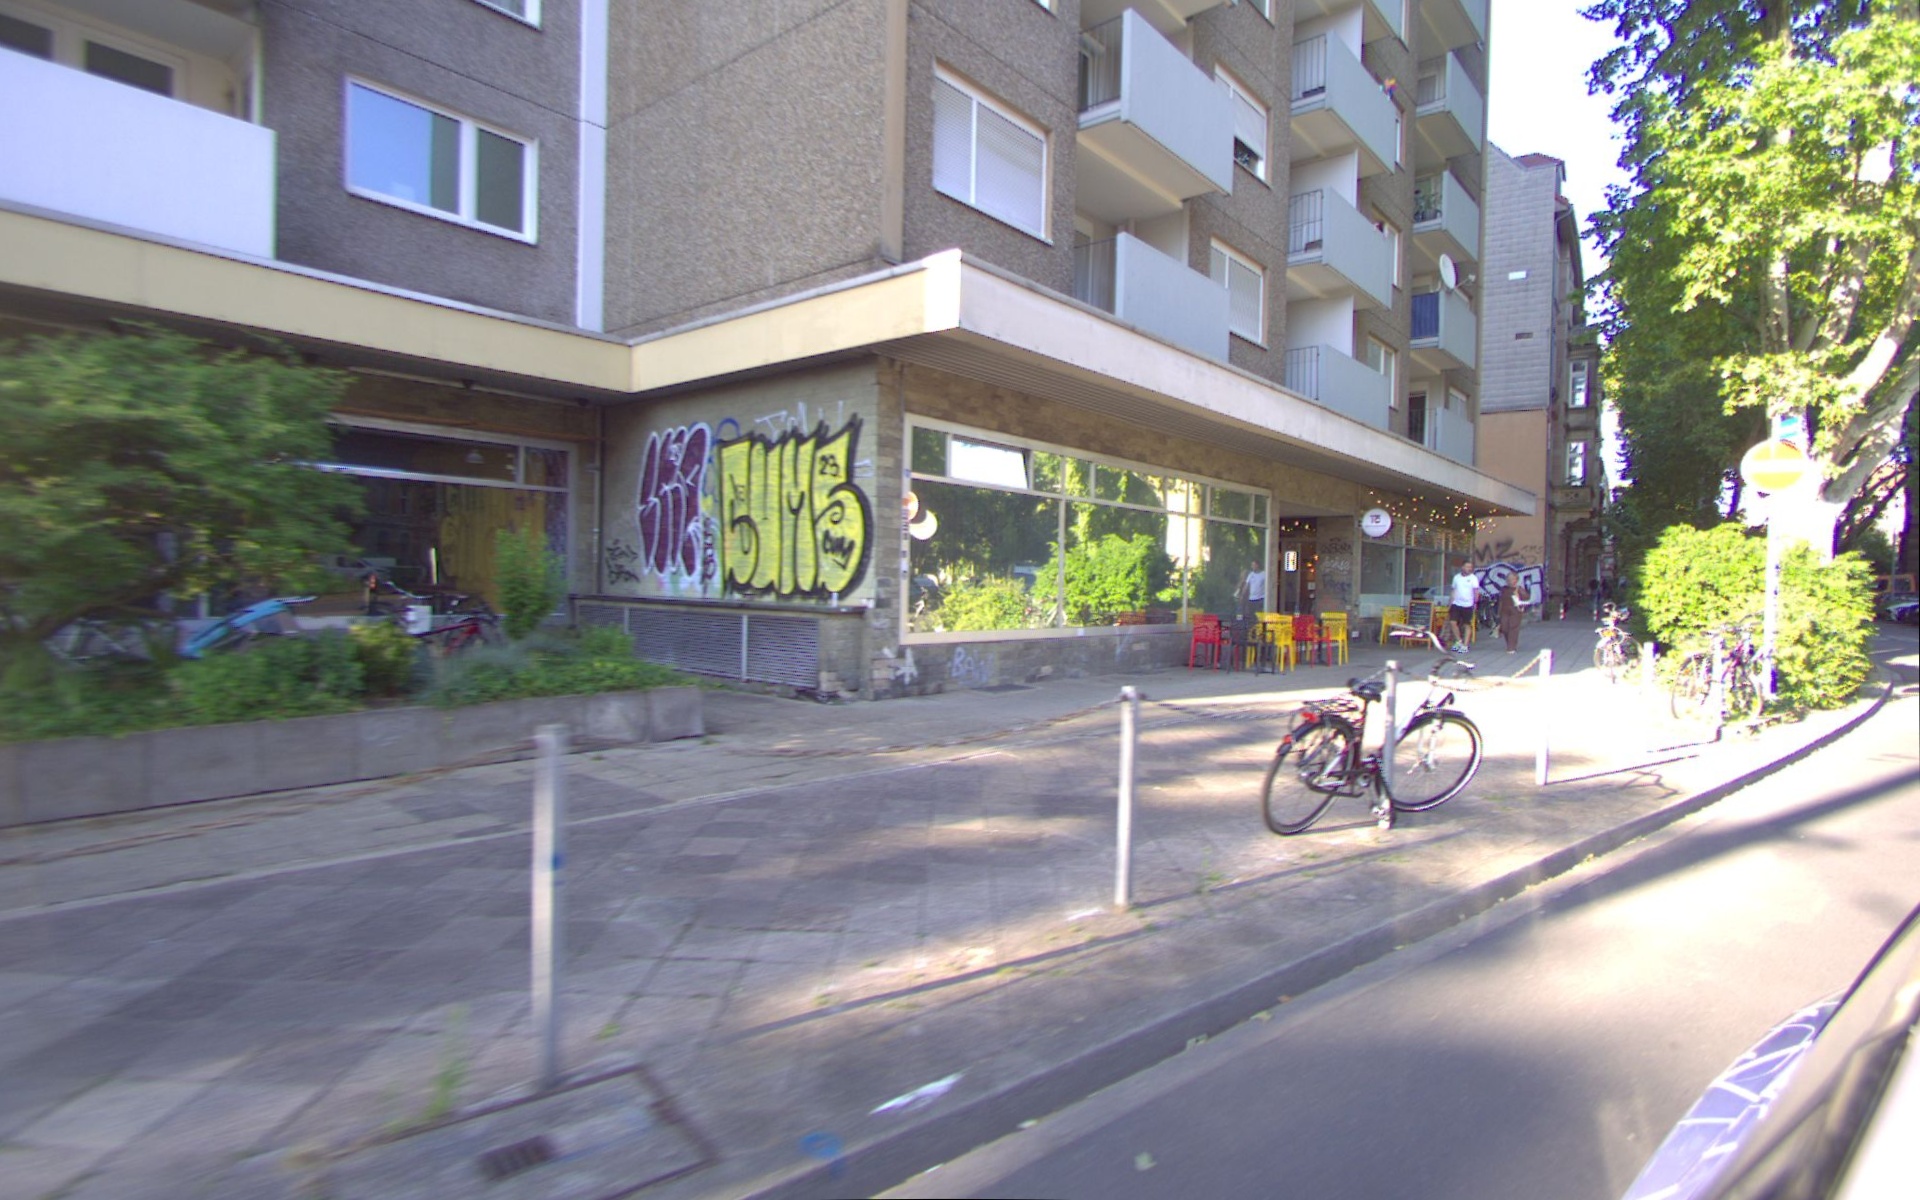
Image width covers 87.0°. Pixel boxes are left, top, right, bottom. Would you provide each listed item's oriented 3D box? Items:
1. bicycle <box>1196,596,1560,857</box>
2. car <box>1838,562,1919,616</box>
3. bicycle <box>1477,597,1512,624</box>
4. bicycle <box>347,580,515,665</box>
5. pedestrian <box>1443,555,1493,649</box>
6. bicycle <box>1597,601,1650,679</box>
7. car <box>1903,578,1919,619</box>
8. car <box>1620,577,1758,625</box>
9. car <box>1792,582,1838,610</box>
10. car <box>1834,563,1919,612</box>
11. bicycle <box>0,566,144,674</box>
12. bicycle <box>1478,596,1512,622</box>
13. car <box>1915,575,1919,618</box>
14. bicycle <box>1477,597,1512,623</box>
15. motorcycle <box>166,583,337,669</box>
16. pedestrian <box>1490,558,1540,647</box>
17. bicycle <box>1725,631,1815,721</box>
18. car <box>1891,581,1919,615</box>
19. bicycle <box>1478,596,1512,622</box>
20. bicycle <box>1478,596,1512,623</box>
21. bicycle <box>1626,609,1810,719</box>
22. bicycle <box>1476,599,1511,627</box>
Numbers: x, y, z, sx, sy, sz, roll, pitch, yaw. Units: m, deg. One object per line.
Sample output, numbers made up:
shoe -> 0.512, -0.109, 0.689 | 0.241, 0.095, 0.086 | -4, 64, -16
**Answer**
bicycle -> 2.351, 0.623, 5.627 | 2.045, 1.241, 0.642 | 1, 2, -26
car -> 53.740, -0.661, 58.218 | 4.607, 3.003, 1.589 | 2, 2, 33
bicycle -> 15.701, 0.298, 29.716 | 0.888, 0.750, 0.269 | 2, 1, 33
bicycle -> -6.172, 0.236, 11.871 | 0.641, 0.910, 1.628 | 3, 2, 39
pedestrian -> 10.045, 0.024, 20.005 | 0.684, 1.795, 0.626 | 3, 2, 43
bicycle -> 9.396, 0.550, 14.324 | 1.035, 1.051, 0.348 | 0, 2, -43
car -> 44.156, -0.128, 44.015 | 4.376, 1.799, 1.762 | -2, -1, 38
car -> 27.499, -0.005, 38.321 | 3.967, 1.491, 1.717 | 4, 3, 30
car -> 51.459, -0.273, 60.953 | 1.597, 1.485, 3.952 | 4, 4, 34
car -> 48.731, -0.646, 52.662 | 4.607, 2.442, 1.589 | 2, 2, 33
bicycle -> -8.419, 0.170, 9.353 | 0.431, 0.954, 1.306 | 3, 2, 39
bicycle -> 16.319, 0.265, 30.867 | 0.888, 0.750, 0.269 | 2, 1, 33
car -> 42.525, -0.190, 41.730 | 4.376, 1.799, 1.762 | -2, -1, 38
bicycle -> 15.853, 0.290, 30.000 | 0.888, 0.750, 0.269 | 2, 1, 33
motorcycle -> -7.107, 0.237, 10.200 | 0.431, 0.804, 1.348 | 3, 2, 39
pedestrian -> 11.060, 0.037, 20.160 | 0.684, 1.713, 0.634 | 3, 2, 43
bicycle -> 9.488, 0.855, 11.837 | 1.706, 0.916, 0.543 | 0, 2, -43
car -> 45.313, -0.135, 45.882 | 4.376, 1.511, 1.762 | -2, -1, 38
bicycle -> 16.162, 0.273, 30.584 | 0.888, 0.750, 0.269 | 2, 1, 33
bicycle -> 16.014, 0.282, 30.296 | 0.888, 0.750, 0.269 | 2, 1, 33
bicycle -> 7.928, 0.631, 10.564 | 2.045, 1.035, 0.642 | 1, 2, -26
bicycle -> 15.527, 0.377, 29.453 | 0.888, 0.750, 0.269 | 2, 1, 33
